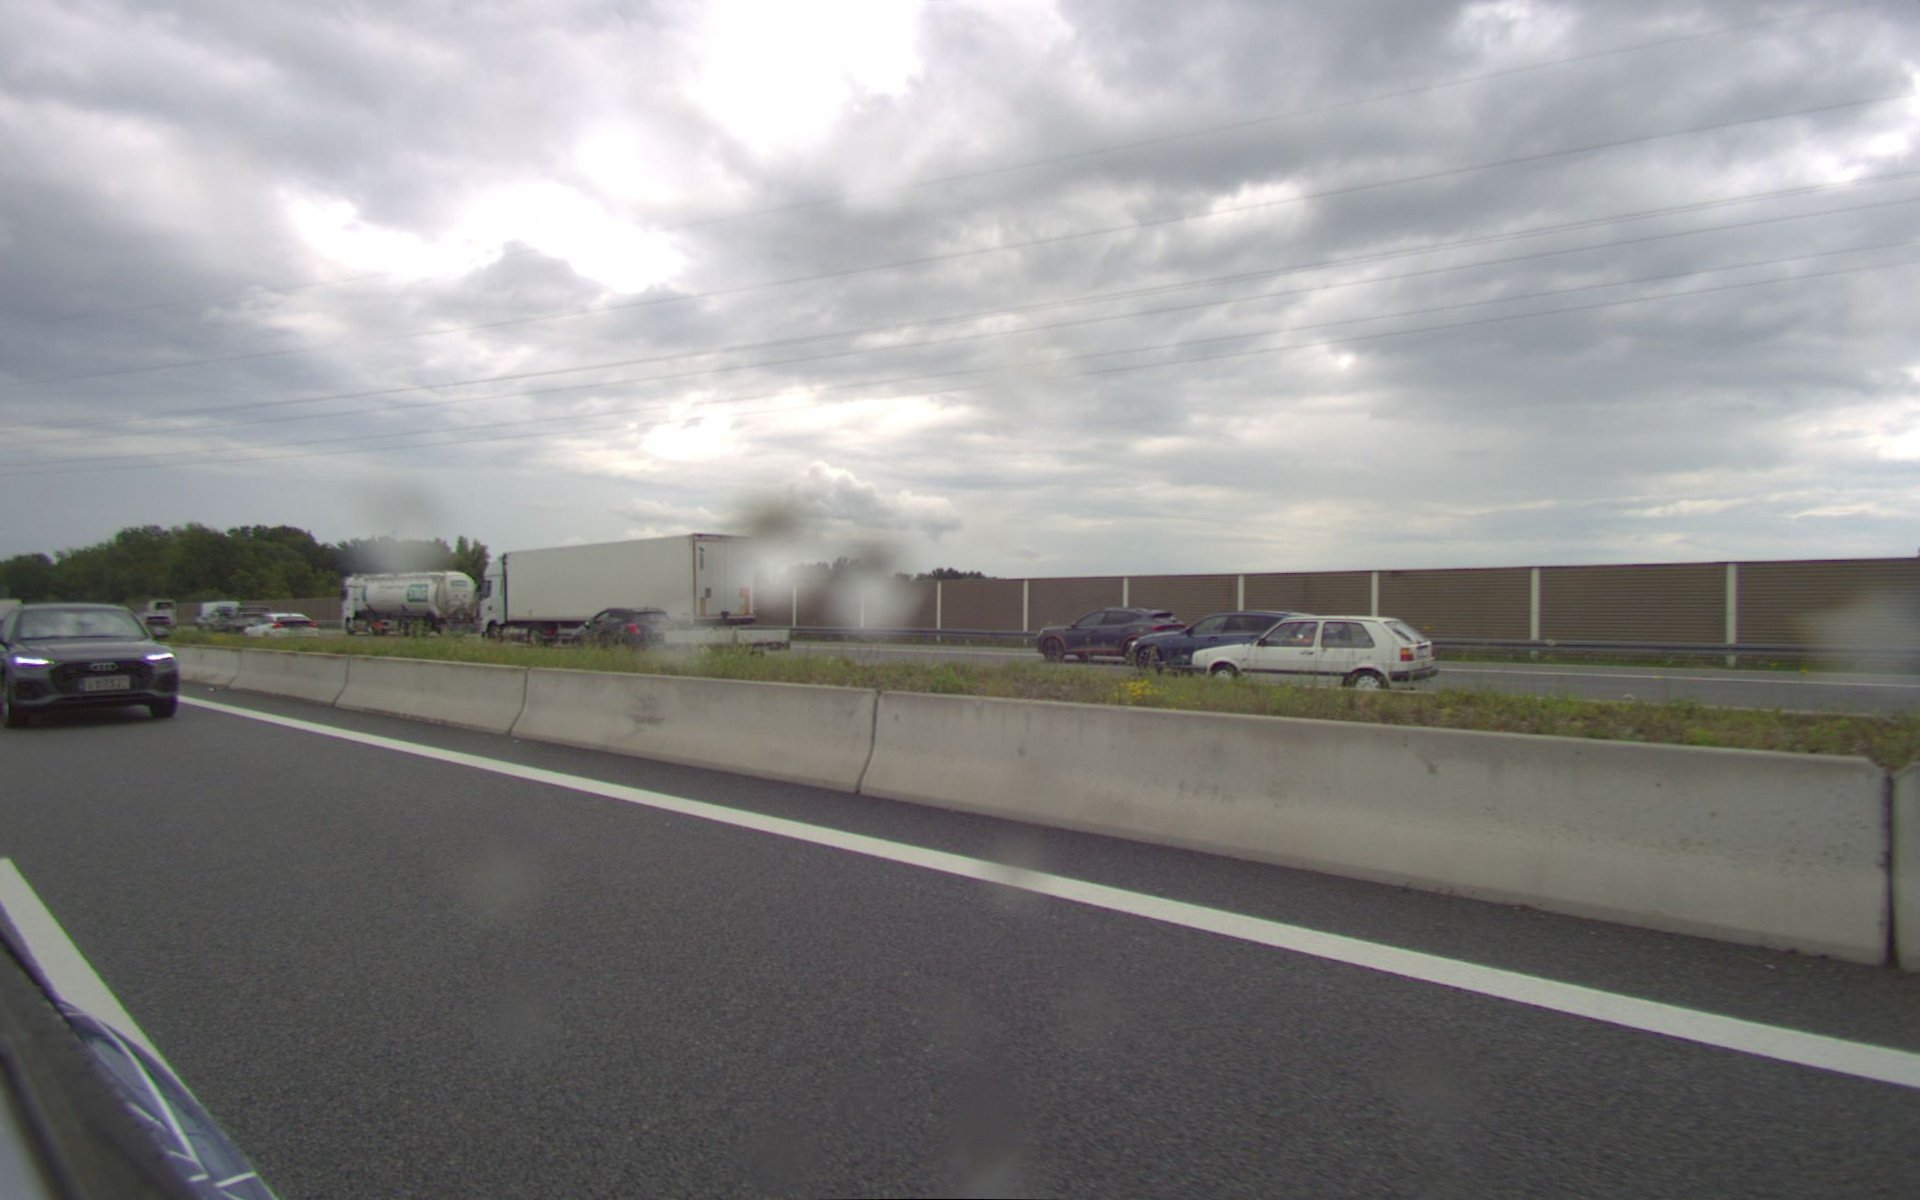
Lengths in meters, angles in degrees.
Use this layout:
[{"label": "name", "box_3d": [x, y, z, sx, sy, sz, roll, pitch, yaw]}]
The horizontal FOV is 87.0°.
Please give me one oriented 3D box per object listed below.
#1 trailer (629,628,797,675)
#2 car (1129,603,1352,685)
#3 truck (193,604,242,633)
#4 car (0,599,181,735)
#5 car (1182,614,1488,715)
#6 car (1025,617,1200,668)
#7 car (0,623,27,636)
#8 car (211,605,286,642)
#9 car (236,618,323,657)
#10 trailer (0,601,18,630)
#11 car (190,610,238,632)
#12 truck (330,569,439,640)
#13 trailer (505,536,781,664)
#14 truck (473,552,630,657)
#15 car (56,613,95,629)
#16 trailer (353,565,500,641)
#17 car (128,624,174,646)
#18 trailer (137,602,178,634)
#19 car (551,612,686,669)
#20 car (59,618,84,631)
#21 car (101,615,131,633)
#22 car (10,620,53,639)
[{"label": "trailer", "box_3d": [-6.834, 1.358, 27.735, 4.755, 1.078, 2.071, -1, 0, 40]}, {"label": "car", "box_3d": [6.093, 0.911, 22.274, 4.382, 1.603, 1.769, -1, 0, 41]}, {"label": "truck", "box_3d": [-65.129, 1.619, 88.745, 6.259, 2.470, 2.081, -1, 0, 40]}, {"label": "car", "box_3d": [-13.421, 0.878, 15.205, 5.168, 1.704, 1.888, -1, -1, 43]}, {"label": "car", "box_3d": [6.268, 1.008, 17.259, 4.562, 1.466, 1.769, -1, 0, 41]}, {"label": "car", "box_3d": [4.150, 1.119, 27.992, 4.562, 1.253, 1.769, -1, 0, 41]}, {"label": "car", "box_3d": [-110.598, 3.468, 118.234, 4.939, 1.465, 1.748, -1, 0, 40]}, {"label": "car", "box_3d": [-40.810, 1.341, 57.991, 6.086, 1.983, 2.256, -1, 0, 43]}, {"label": "car", "box_3d": [-27.930, 1.491, 41.480, 4.561, 1.465, 1.770, -1, 0, 40]}, {"label": "trailer", "box_3d": [-139.424, 2.289, 146.123, 13.275, 4.092, 3.286, -1, 0, 40]}, {"label": "car", "box_3d": [-54.170, 1.518, 73.489, 4.561, 1.480, 1.770, -1, 0, 40]}, {"label": "truck", "box_3d": [-37.638, 0.327, 66.045, 8.232, 4.351, 3.623, -1, 0, 41]}, {"label": "trailer", "box_3d": [-12.477, 0.062, 38.503, 13.394, 4.139, 3.622, -1, 0, 42]}, {"label": "truck", "box_3d": [-17.362, 0.186, 42.871, 6.522, 4.078, 3.622, -1, 0, 42]}, {"label": "car", "box_3d": [-81.215, 1.930, 92.952, 4.939, 1.465, 1.945, -1, 0, 40]}, {"label": "trailer", "box_3d": [-32.853, 0.240, 61.912, 12.459, 4.268, 3.623, -1, 0, 41]}, {"label": "car", "box_3d": [-59.315, 2.550, 74.152, 4.561, 1.465, 1.770, -1, 0, 40]}, {"label": "trailer", "box_3d": [-79.692, 1.787, 100.510, 4.896, 2.984, 2.225, -1, 0, 40]}, {"label": "car", "box_3d": [-10.430, 1.185, 30.739, 4.561, 1.574, 1.770, -1, 0, 40]}, {"label": "car", "box_3d": [-120.390, 3.338, 137.121, 4.939, 1.622, 1.748, -1, 0, 40]}, {"label": "car", "box_3d": [-94.620, 2.655, 113.425, 4.939, 1.982, 1.748, -1, 0, 40]}, {"label": "car", "box_3d": [-76.869, 2.445, 83.730, 4.736, 1.538, 1.974, -1, -1, 39]}]
